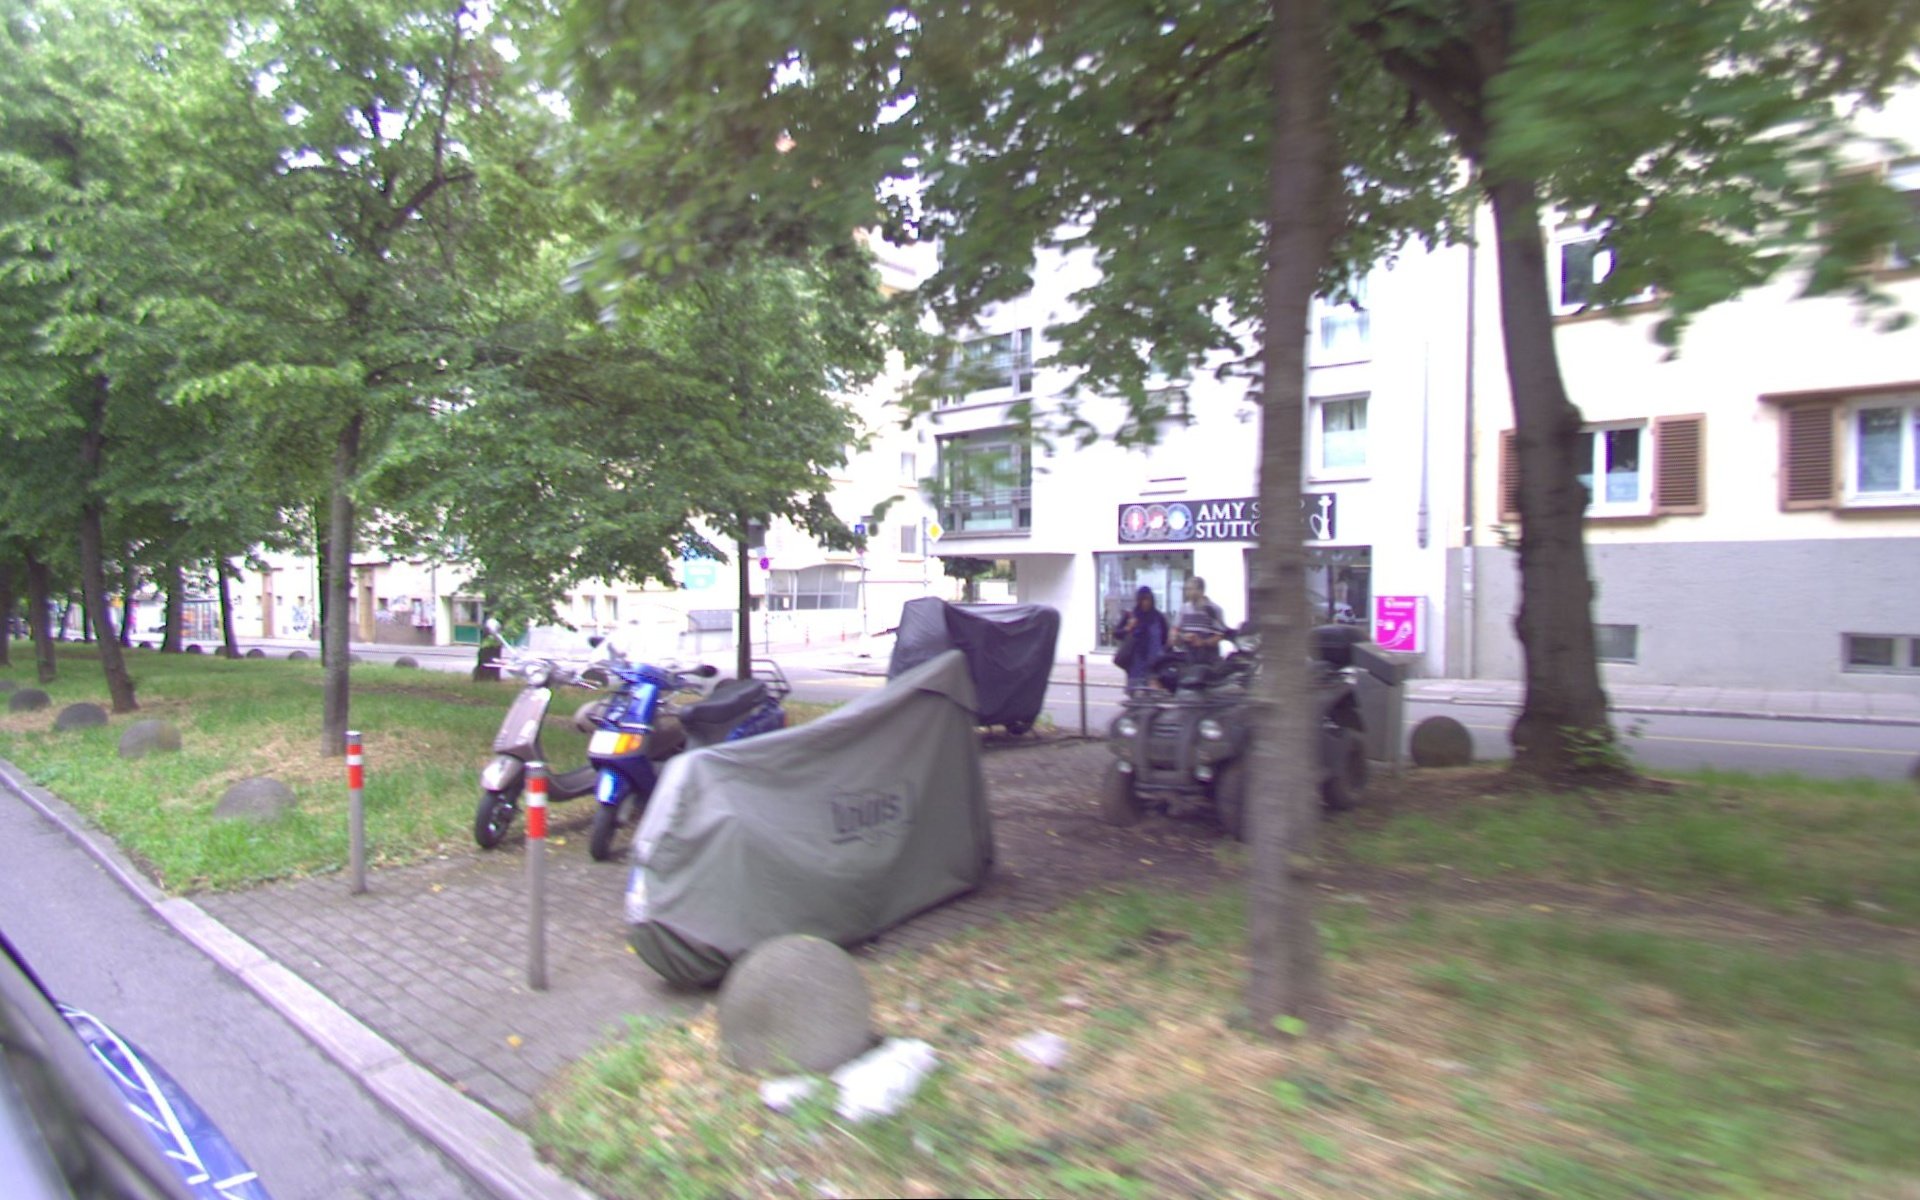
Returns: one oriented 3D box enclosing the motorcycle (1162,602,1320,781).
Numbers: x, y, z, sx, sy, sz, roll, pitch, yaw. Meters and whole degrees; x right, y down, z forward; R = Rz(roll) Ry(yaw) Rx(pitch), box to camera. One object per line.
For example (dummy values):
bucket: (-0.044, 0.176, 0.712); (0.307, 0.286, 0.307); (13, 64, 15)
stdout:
motorcycle: (2.399, 0.695, 8.510); (0.624, 1.349, 1.745); (-1, -1, 39)

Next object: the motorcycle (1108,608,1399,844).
motorcycle: (1.940, 0.699, 6.512); (2.005, 1.245, 0.897); (-1, -1, -44)

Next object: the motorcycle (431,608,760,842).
motorcycle: (-2.384, 0.724, 6.823); (0.893, 1.306, 1.905); (1, 1, 39)

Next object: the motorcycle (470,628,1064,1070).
motorcycle: (-0.650, 0.788, 4.279); (1.032, 1.245, 2.332); (-2, -1, 39)

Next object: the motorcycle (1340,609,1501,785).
motorcycle: (3.761, 0.694, 8.164); (0.622, 1.245, 2.108); (0, -1, 40)

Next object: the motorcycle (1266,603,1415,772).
motorcycle: (3.289, 0.668, 8.628); (0.516, 1.245, 2.088); (-2, -1, 39)

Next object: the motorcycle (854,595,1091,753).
motorcycle: (0.184, 0.642, 9.886); (1.045, 1.327, 2.358); (-2, -1, 40)

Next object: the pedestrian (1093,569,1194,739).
pedestrian: (1.847, 0.521, 10.161); (0.762, 1.625, 0.629); (-2, 0, 33)

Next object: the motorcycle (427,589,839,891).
motorcycle: (-1.855, 0.685, 6.048); (0.874, 1.449, 2.170); (-1, 0, 43)

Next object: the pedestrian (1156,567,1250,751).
pedestrian: (2.249, 0.521, 9.358); (0.579, 1.628, 0.656); (-2, 0, 39)

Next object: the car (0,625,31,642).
car: (-95.414, 3.396, 102.109); (4.362, 1.641, 1.929); (-2, -1, 41)

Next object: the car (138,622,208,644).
car: (-65.040, 2.697, 83.687); (2.048, 1.430, 4.241); (-3, 1, 43)
